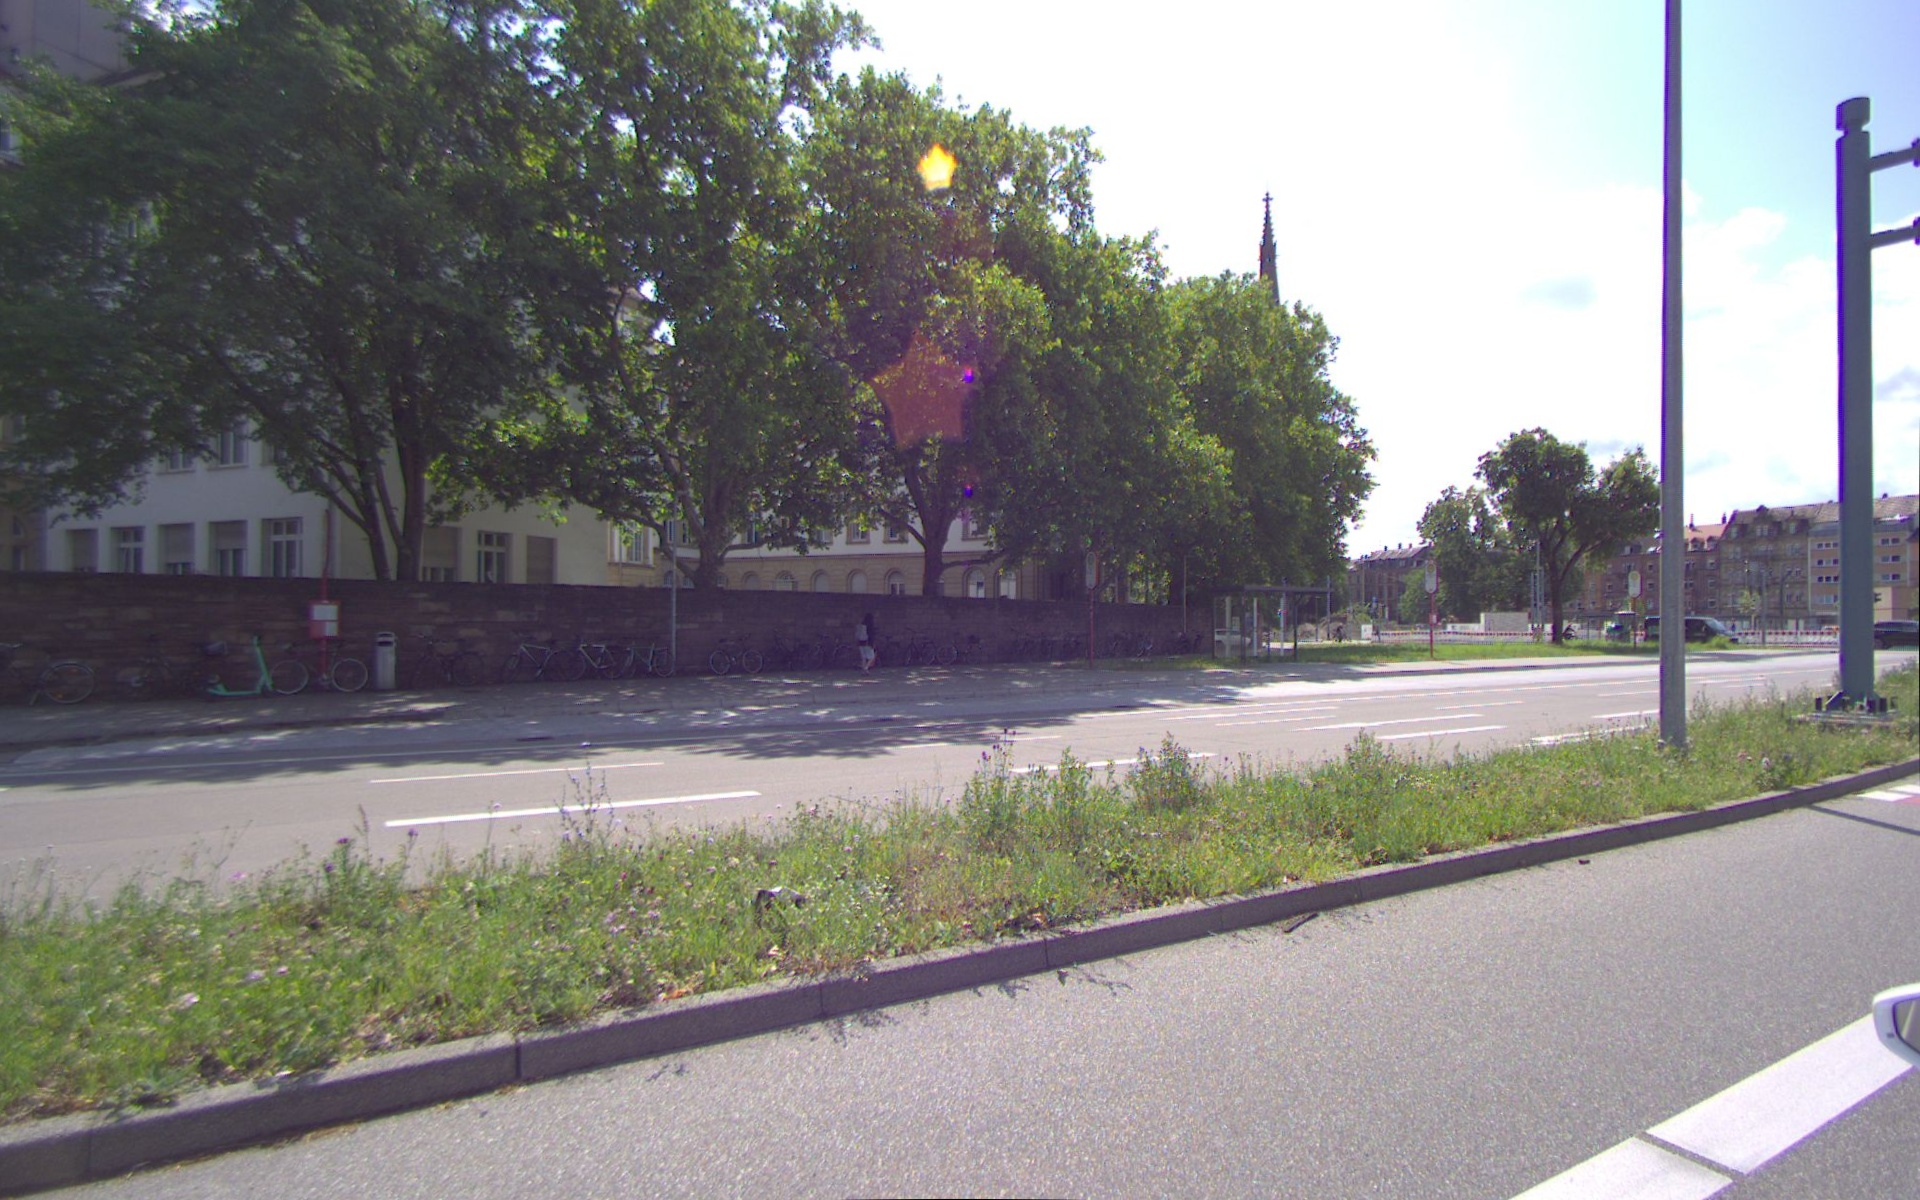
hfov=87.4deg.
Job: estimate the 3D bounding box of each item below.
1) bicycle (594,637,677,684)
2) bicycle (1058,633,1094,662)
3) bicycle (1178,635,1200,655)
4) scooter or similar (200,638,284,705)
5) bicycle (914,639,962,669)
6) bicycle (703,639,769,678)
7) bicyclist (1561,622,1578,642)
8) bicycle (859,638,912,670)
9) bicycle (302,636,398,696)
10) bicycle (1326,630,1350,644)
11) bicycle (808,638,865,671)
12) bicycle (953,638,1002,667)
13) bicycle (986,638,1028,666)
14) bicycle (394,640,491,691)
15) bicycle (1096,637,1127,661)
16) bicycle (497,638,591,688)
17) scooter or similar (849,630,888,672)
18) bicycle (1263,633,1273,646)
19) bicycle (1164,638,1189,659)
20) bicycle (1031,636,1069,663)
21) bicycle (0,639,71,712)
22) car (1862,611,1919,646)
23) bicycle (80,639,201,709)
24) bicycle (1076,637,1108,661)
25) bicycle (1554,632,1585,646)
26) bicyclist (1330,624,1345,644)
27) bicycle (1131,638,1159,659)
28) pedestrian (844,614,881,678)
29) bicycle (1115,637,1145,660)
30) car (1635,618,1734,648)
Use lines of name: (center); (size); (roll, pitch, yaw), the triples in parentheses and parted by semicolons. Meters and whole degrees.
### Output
bicycle: (-7.833, 1.440, 24.307); (1.883, 1.061, 0.538); (1, -1, -44)
bicycle: (4.457, 1.816, 38.478); (0.537, 1.065, 1.615); (-1, -1, 41)
bicycle: (11.197, 2.197, 49.042); (0.536, 0.914, 1.661); (0, -1, 32)
scooter or similar: (-13.155, 1.295, 18.422); (0.426, 1.167, 1.188); (-1, -1, 37)
bicycle: (-0.705, 1.715, 32.260); (0.538, 0.914, 1.656); (-1, -1, 43)
bicycle: (-5.827, 1.506, 26.199); (1.654, 0.962, 0.538); (1, -1, -44)
bicyclist: (45.597, 2.371, 75.176); (0.546, 1.493, 0.960); (1, -1, -38)
bicycle: (-2.250, 1.620, 30.372); (1.654, 0.914, 0.538); (1, -1, -44)
bicycle: (-12.270, 1.306, 20.235); (1.584, 1.158, 0.427); (1, -1, -45)
bicycle: (34.400, 3.370, 91.539); (0.599, 1.307, 2.048); (1, -1, -38)
bicycle: (-3.558, 1.567, 28.990); (1.654, 0.914, 0.538); (2, -2, -44)
bicycle: (0.593, 1.744, 33.451); (1.649, 0.914, 0.498); (1, -1, -36)
bicycle: (1.645, 1.808, 35.048); (0.537, 0.914, 1.656); (-1, -1, 42)
bicycle: (-11.012, 1.369, 21.406); (1.787, 1.021, 0.476); (1, -1, -41)
bicycle: (6.265, 2.014, 41.382); (0.537, 0.914, 1.659); (0, -1, 37)
bicycle: (-9.446, 1.403, 22.860); (1.936, 1.061, 0.538); (1, -1, -44)
scooter or similar: (-2.635, 1.461, 28.993); (0.426, 1.199, 1.188); (-1, -1, 37)
bicycle: (22.897, 2.910, 74.632); (0.534, 0.914, 1.666); (0, -1, 10)
bicycle: (10.181, 2.280, 47.219); (0.537, 0.914, 1.659); (0, -1, 37)
bicycle: (3.347, 1.816, 37.208); (0.537, 0.964, 1.657); (-1, -1, 41)
bicycle: (-15.759, 1.237, 16.544); (0.525, 1.167, 1.588); (-1, -1, 36)
car: (57.673, 1.727, 60.534); (2.079, 2.040, 4.597); (2, -2, -35)
bicycle: (-14.564, 1.291, 17.886); (0.525, 1.167, 1.588); (-1, -1, 36)
bicycle: (5.254, 1.951, 39.990); (0.537, 0.914, 1.659); (0, -1, 37)
bicycle: (45.589, 2.896, 75.182); (0.543, 1.044, 1.905); (1, -1, -38)
bicyclist: (34.396, 3.094, 91.577); (0.588, 1.869, 1.110); (0, -1, -38)
bicycle: (8.175, 2.132, 44.286); (0.446, 0.914, 1.787); (0, -1, 37)
pedestrian: (-2.561, 1.201, 26.438); (0.607, 1.638, 0.754); (1, 0, 37)
bicycle: (7.241, 2.060, 42.765); (0.537, 0.914, 1.659); (0, -1, 37)
car: (47.666, 2.156, 66.185); (1.909, 1.904, 4.977); (0, -1, -34)
